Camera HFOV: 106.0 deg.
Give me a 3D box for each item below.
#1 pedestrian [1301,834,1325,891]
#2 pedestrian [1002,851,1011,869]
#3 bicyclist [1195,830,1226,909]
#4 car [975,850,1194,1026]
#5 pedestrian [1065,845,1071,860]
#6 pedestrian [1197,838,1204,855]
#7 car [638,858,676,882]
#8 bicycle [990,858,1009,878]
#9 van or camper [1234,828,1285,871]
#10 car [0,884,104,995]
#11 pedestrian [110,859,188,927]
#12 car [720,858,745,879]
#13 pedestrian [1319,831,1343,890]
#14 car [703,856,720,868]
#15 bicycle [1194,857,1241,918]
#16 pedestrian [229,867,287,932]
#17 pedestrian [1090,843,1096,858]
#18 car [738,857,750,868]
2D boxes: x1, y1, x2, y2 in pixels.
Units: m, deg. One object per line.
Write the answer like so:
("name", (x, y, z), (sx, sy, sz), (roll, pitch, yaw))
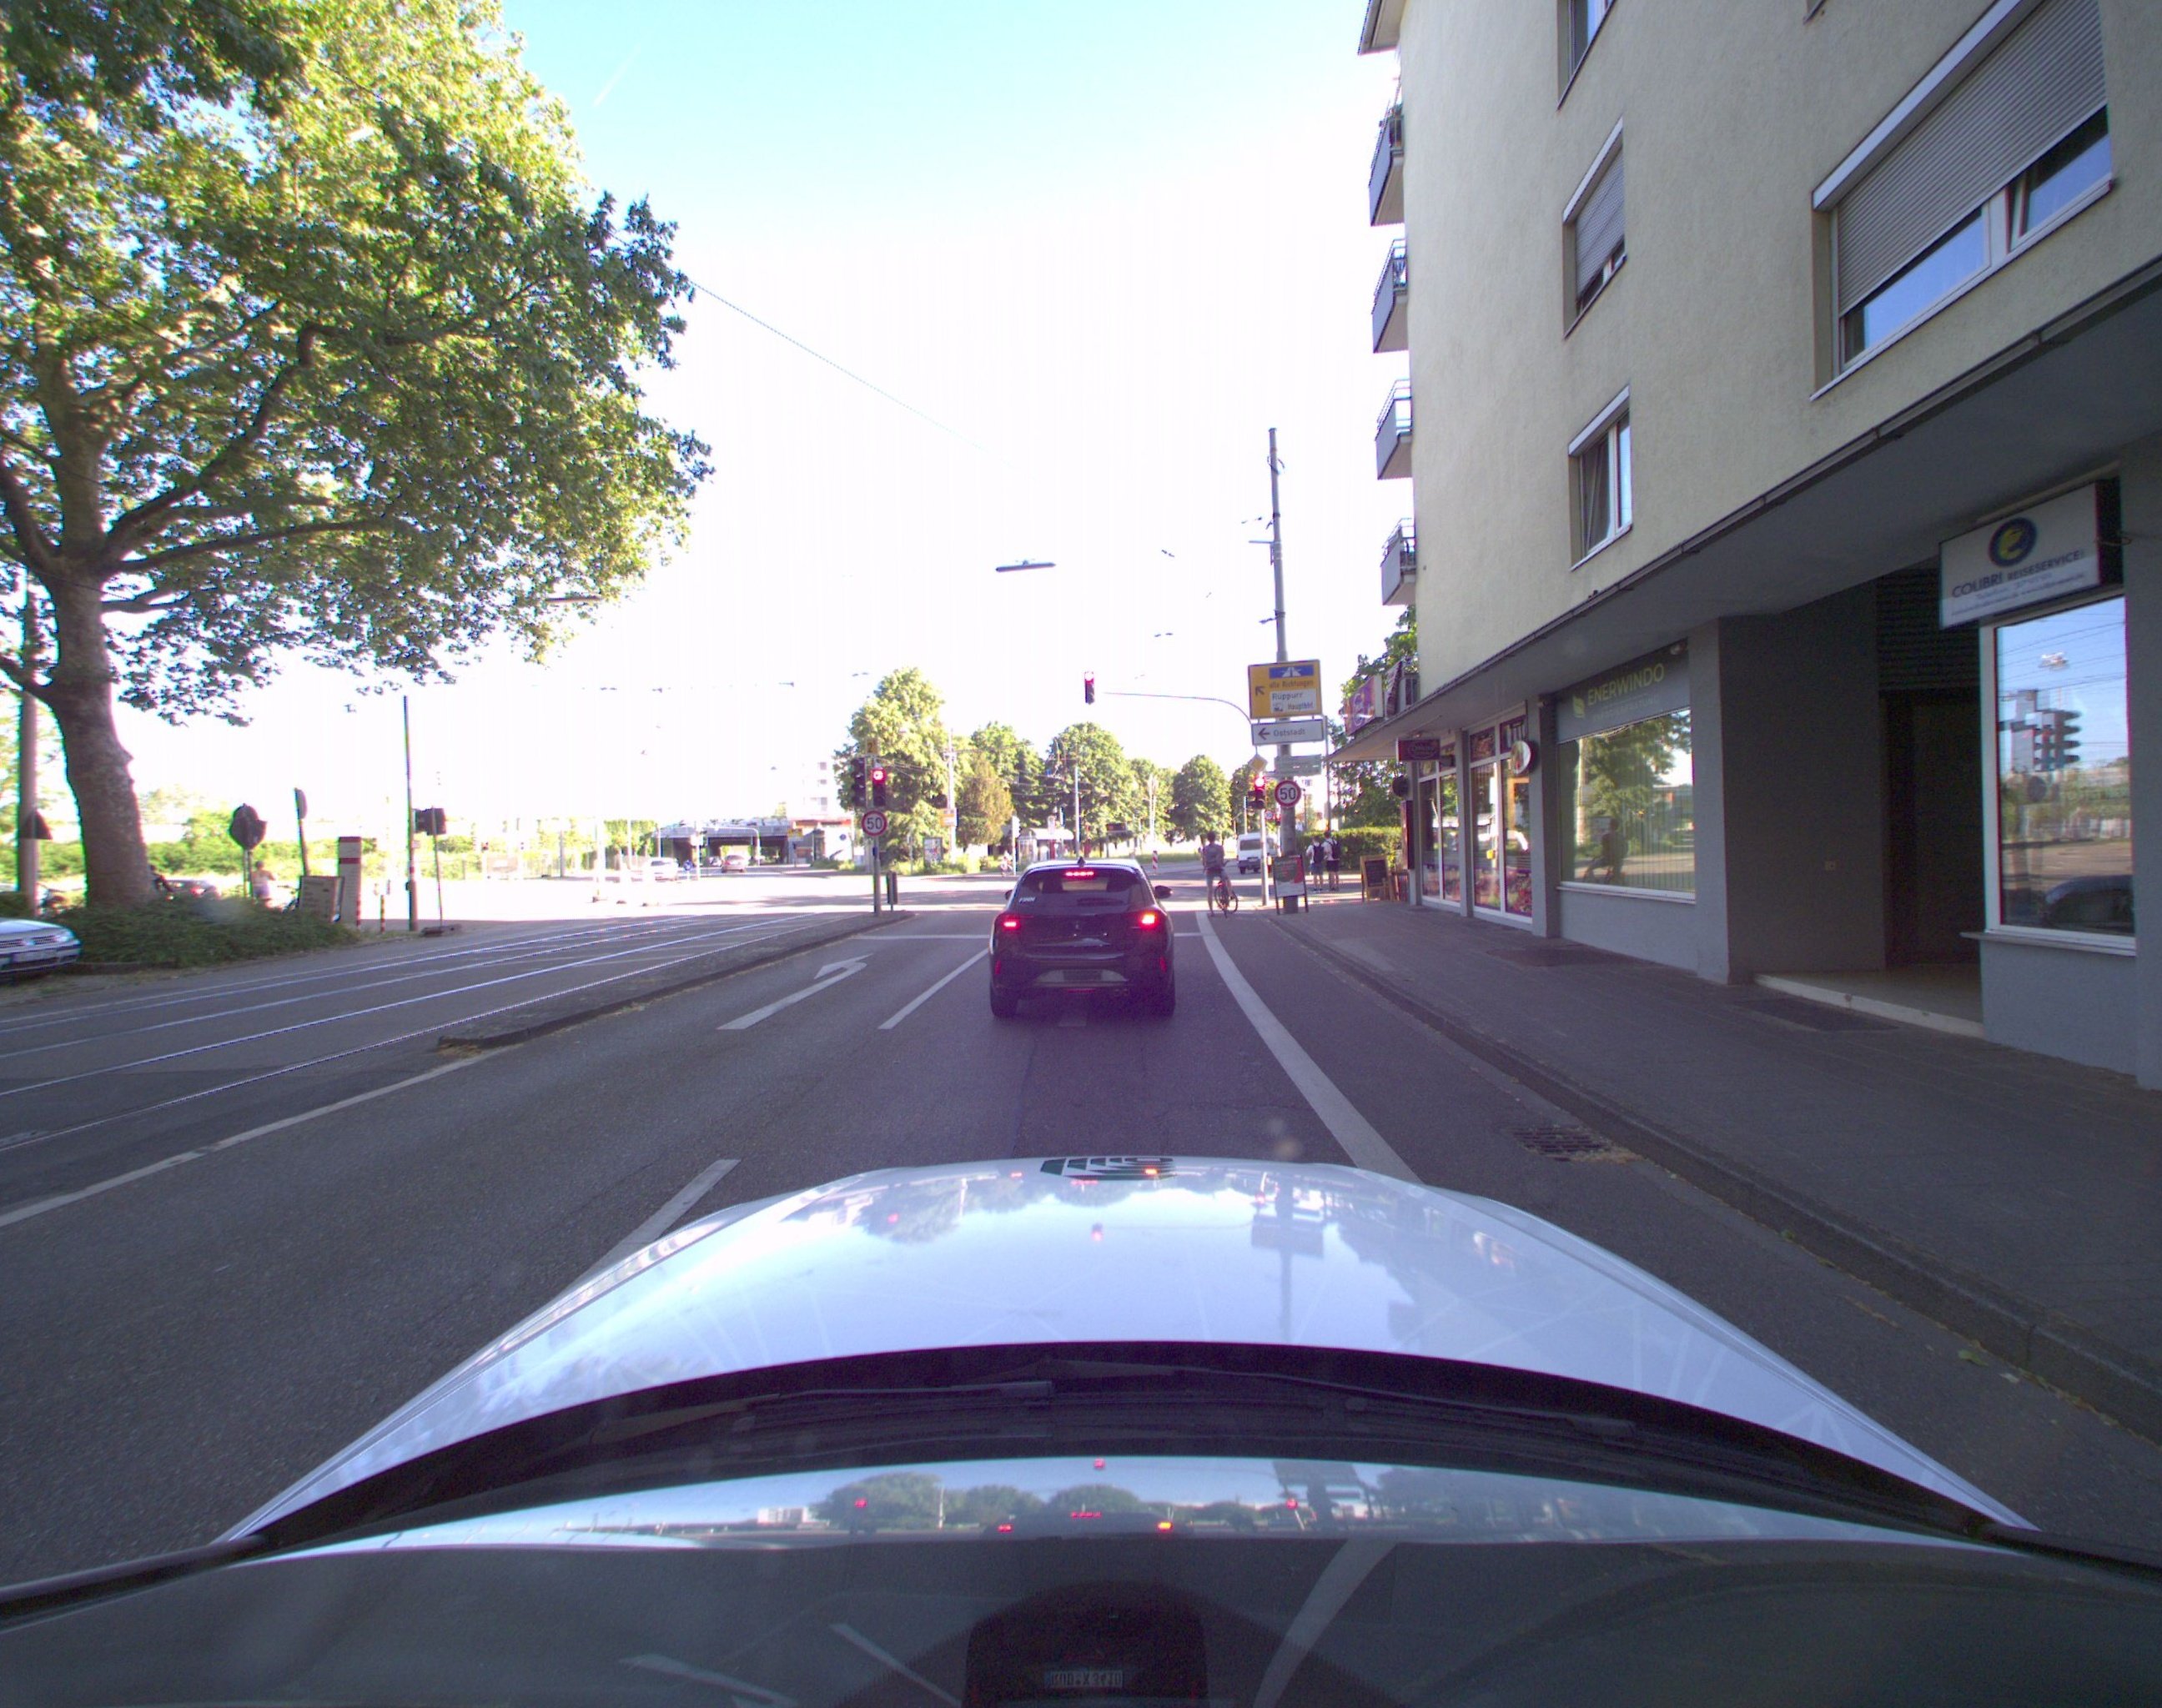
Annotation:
("pedestrian", (7.291, 0.275, 25.566), (0.627, 1.763, 0.585), (-1, -1, 22))
("pedestrian", (-6.122, 0.471, 67.156), (0.567, 1.472, 0.666), (-2, 0, 5))
("bicyclist", (2.832, 0.334, 17.833), (0.529, 1.692, 0.571), (-2, 0, 19))
("car", (0.093, 0.703, 8.922), (1.833, 1.462, 3.985), (-1, 0, 2))
("pedestrian", (-1.651, -0.239, 103.525), (0.736, 1.872, 0.661), (0, -1, -4))
("pedestrian", (13.288, -0.819, 90.617), (0.605, 1.872, 0.516), (0, -1, -19))
("car", (-29.213, 1.068, 56.187), (1.892, 1.585, 3.809), (0, -1, -21))
("bicycle", (-4.631, 0.764, 46.485), (0.793, 1.064, 2.186), (-2, 0, 2))
("van or camper", (10.187, -0.223, 46.191), (2.011, 2.310, 4.565), (-1, -1, 23))
("car", (-16.629, 1.196, 11.335), (3.957, 1.453, 1.670), (-1, 0, -1))
("pedestrian", (-23.111, 0.941, 20.217), (0.842, 1.647, 0.931), (0, -1, 1))
("car", (-33.053, 1.323, 77.326), (1.916, 1.881, 4.811), (-2, 0, -21))
("pedestrian", (7.803, 0.198, 25.401), (0.627, 1.820, 0.749), (-1, -1, 22))
("car", (-51.331, 1.112, 113.270), (1.892, 1.585, 3.809), (0, -1, -21))
("bicycle", (3.041, 0.715, 18.002), (0.747, 1.235, 2.024), (-2, 0, 16))
("pedestrian", (-21.731, 1.170, 21.525), (0.776, 1.661, 0.947), (0, -1, -25))
("pedestrian", (1.504, -0.398, 101.136), (0.616, 1.872, 0.521), (-1, -1, 9))
("car", (-54.297, 1.400, 131.188), (1.761, 1.684, 3.713), (0, -1, -22))
